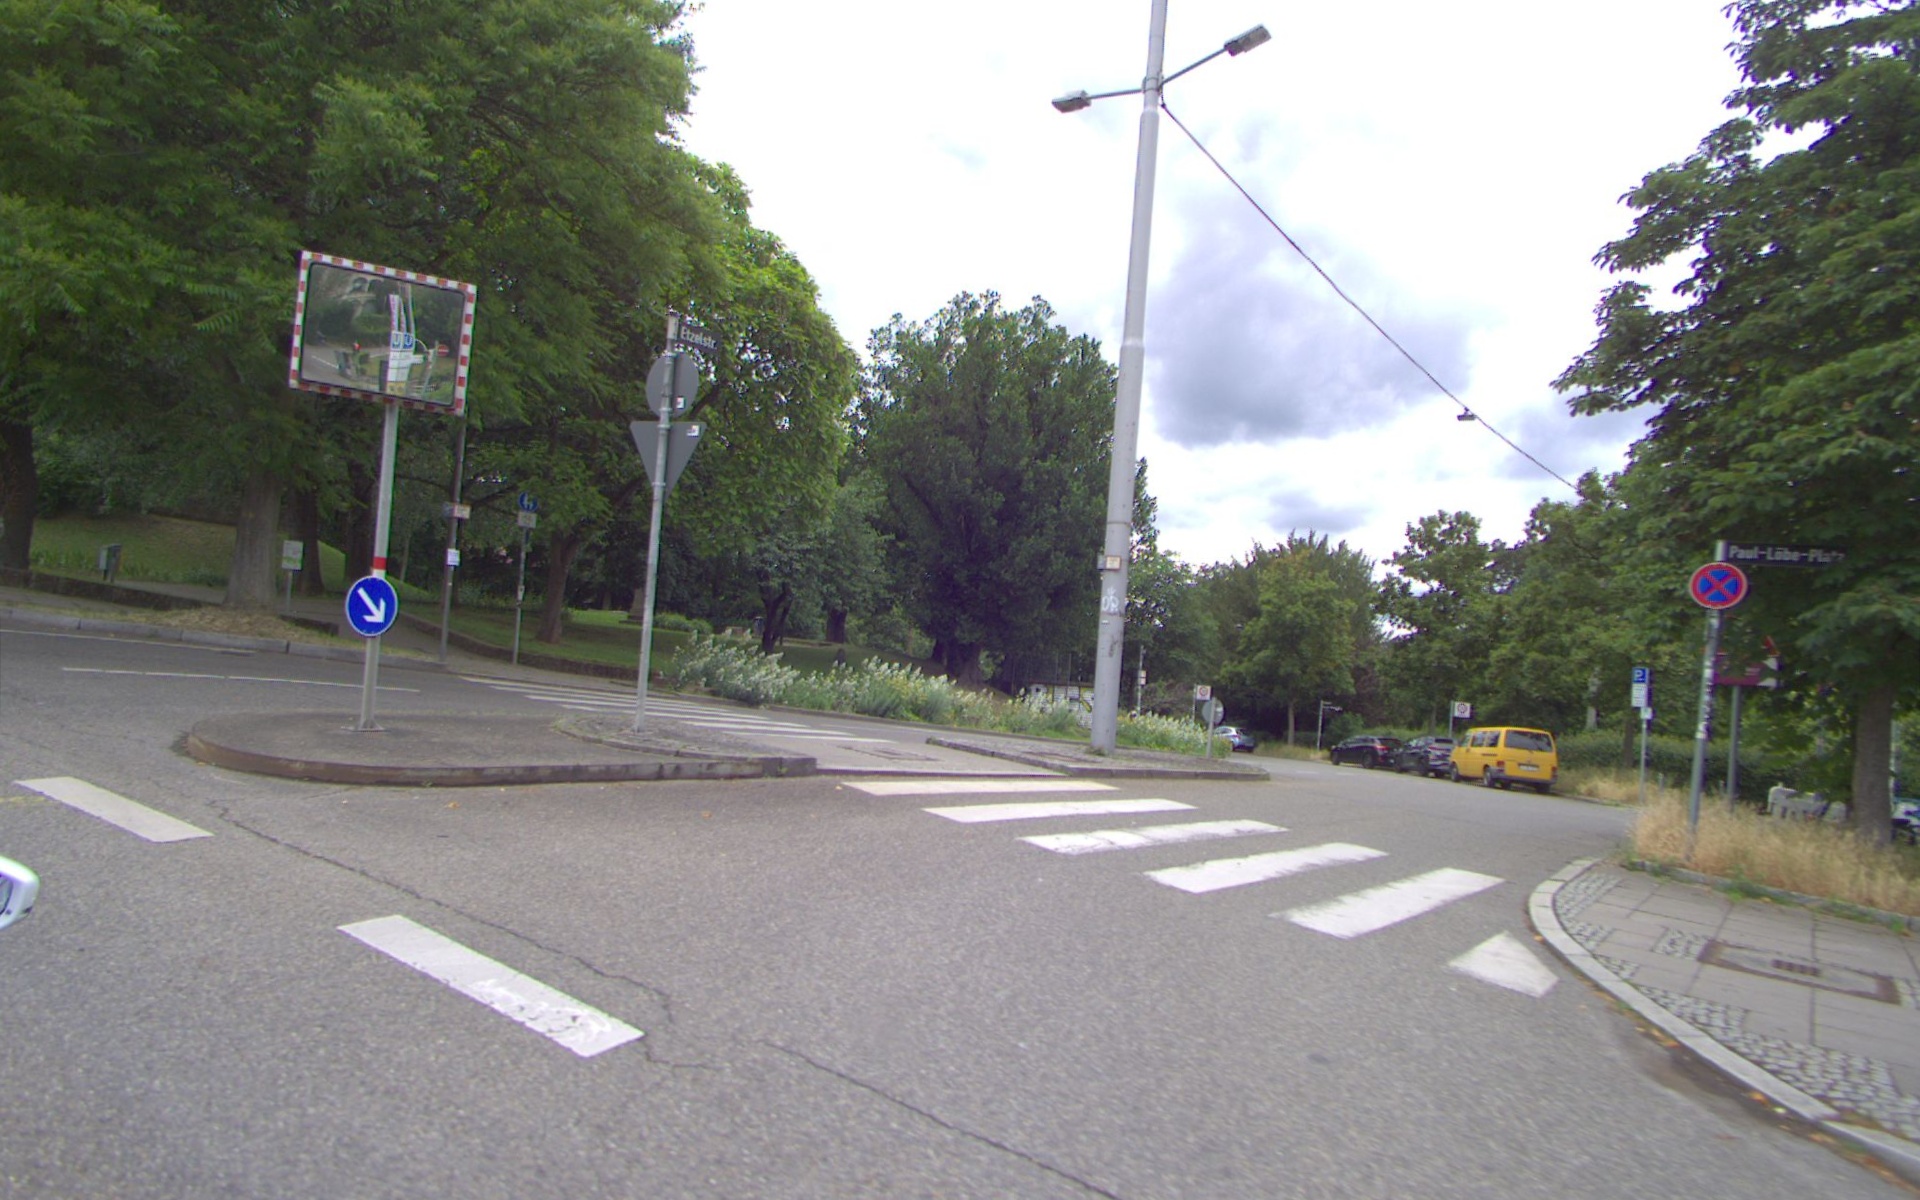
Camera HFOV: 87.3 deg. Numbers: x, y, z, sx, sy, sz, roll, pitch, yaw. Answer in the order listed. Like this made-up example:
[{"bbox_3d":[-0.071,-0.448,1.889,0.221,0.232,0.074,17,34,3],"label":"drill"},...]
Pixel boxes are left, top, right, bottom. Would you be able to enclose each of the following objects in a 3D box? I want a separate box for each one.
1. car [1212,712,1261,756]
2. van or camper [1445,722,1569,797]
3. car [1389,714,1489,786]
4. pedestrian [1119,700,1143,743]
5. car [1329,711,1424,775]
[{"bbox_3d":[16.721,8.105,61.008,1.962,2.037,4.004,8,-1,6],"label":"car"},{"bbox_3d":[17.299,4.997,32.074,1.853,1.996,4.485,6,-6,8],"label":"van or camper"},{"bbox_3d":[18.025,5.609,38.065,1.962,2.037,4.004,8,-1,6],"label":"car"},{"bbox_3d":[7.108,5.027,41.749,0.658,1.667,0.669,7,-1,24],"label":"pedestrian"},{"bbox_3d":[17.980,6.153,43.631,1.965,2.037,3.998,8,-1,-6],"label":"car"}]
